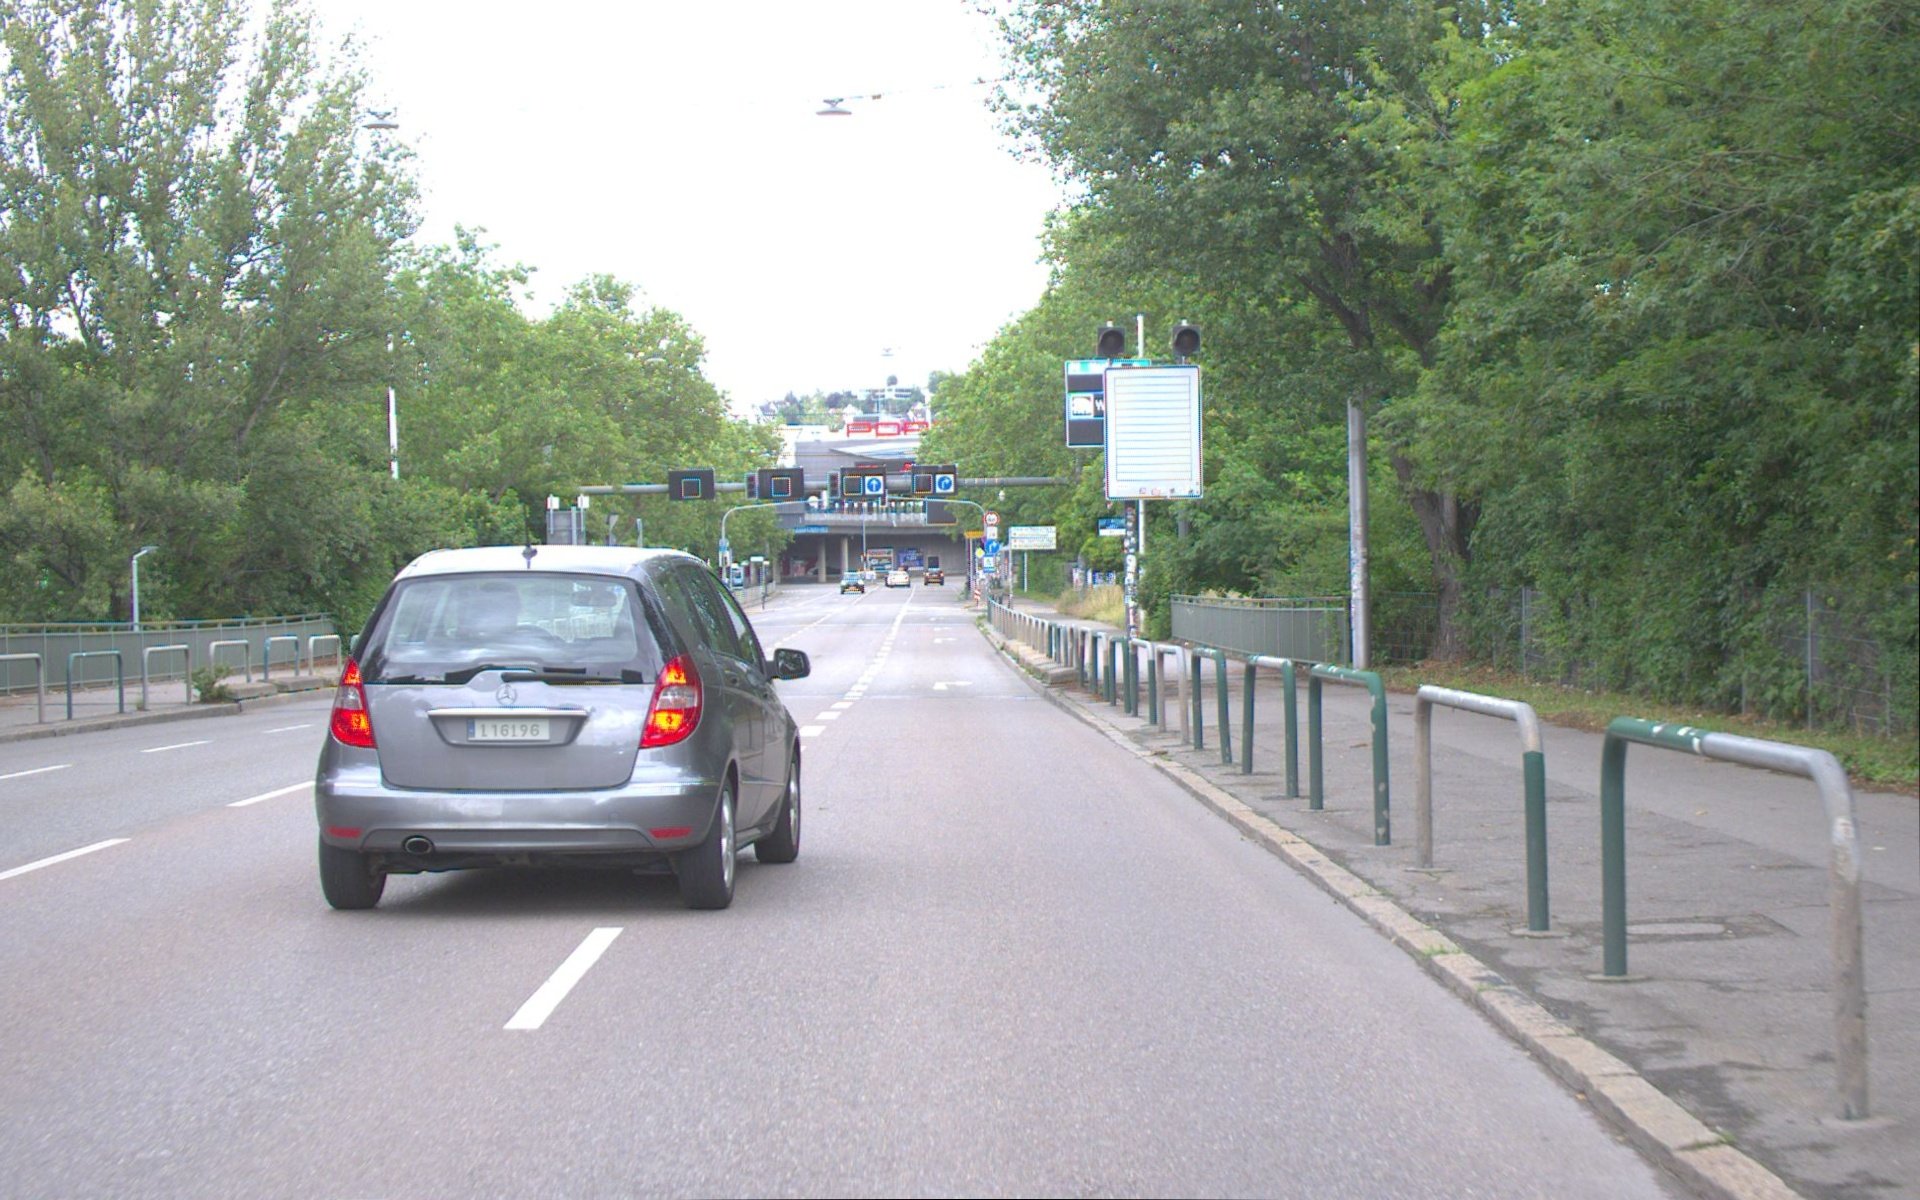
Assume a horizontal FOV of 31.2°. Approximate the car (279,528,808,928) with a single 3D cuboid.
[{"bbox_3d":[-1.789,0.525,16.033,1.826,1.611,4.034,0,0,2],"label":"car"}]
